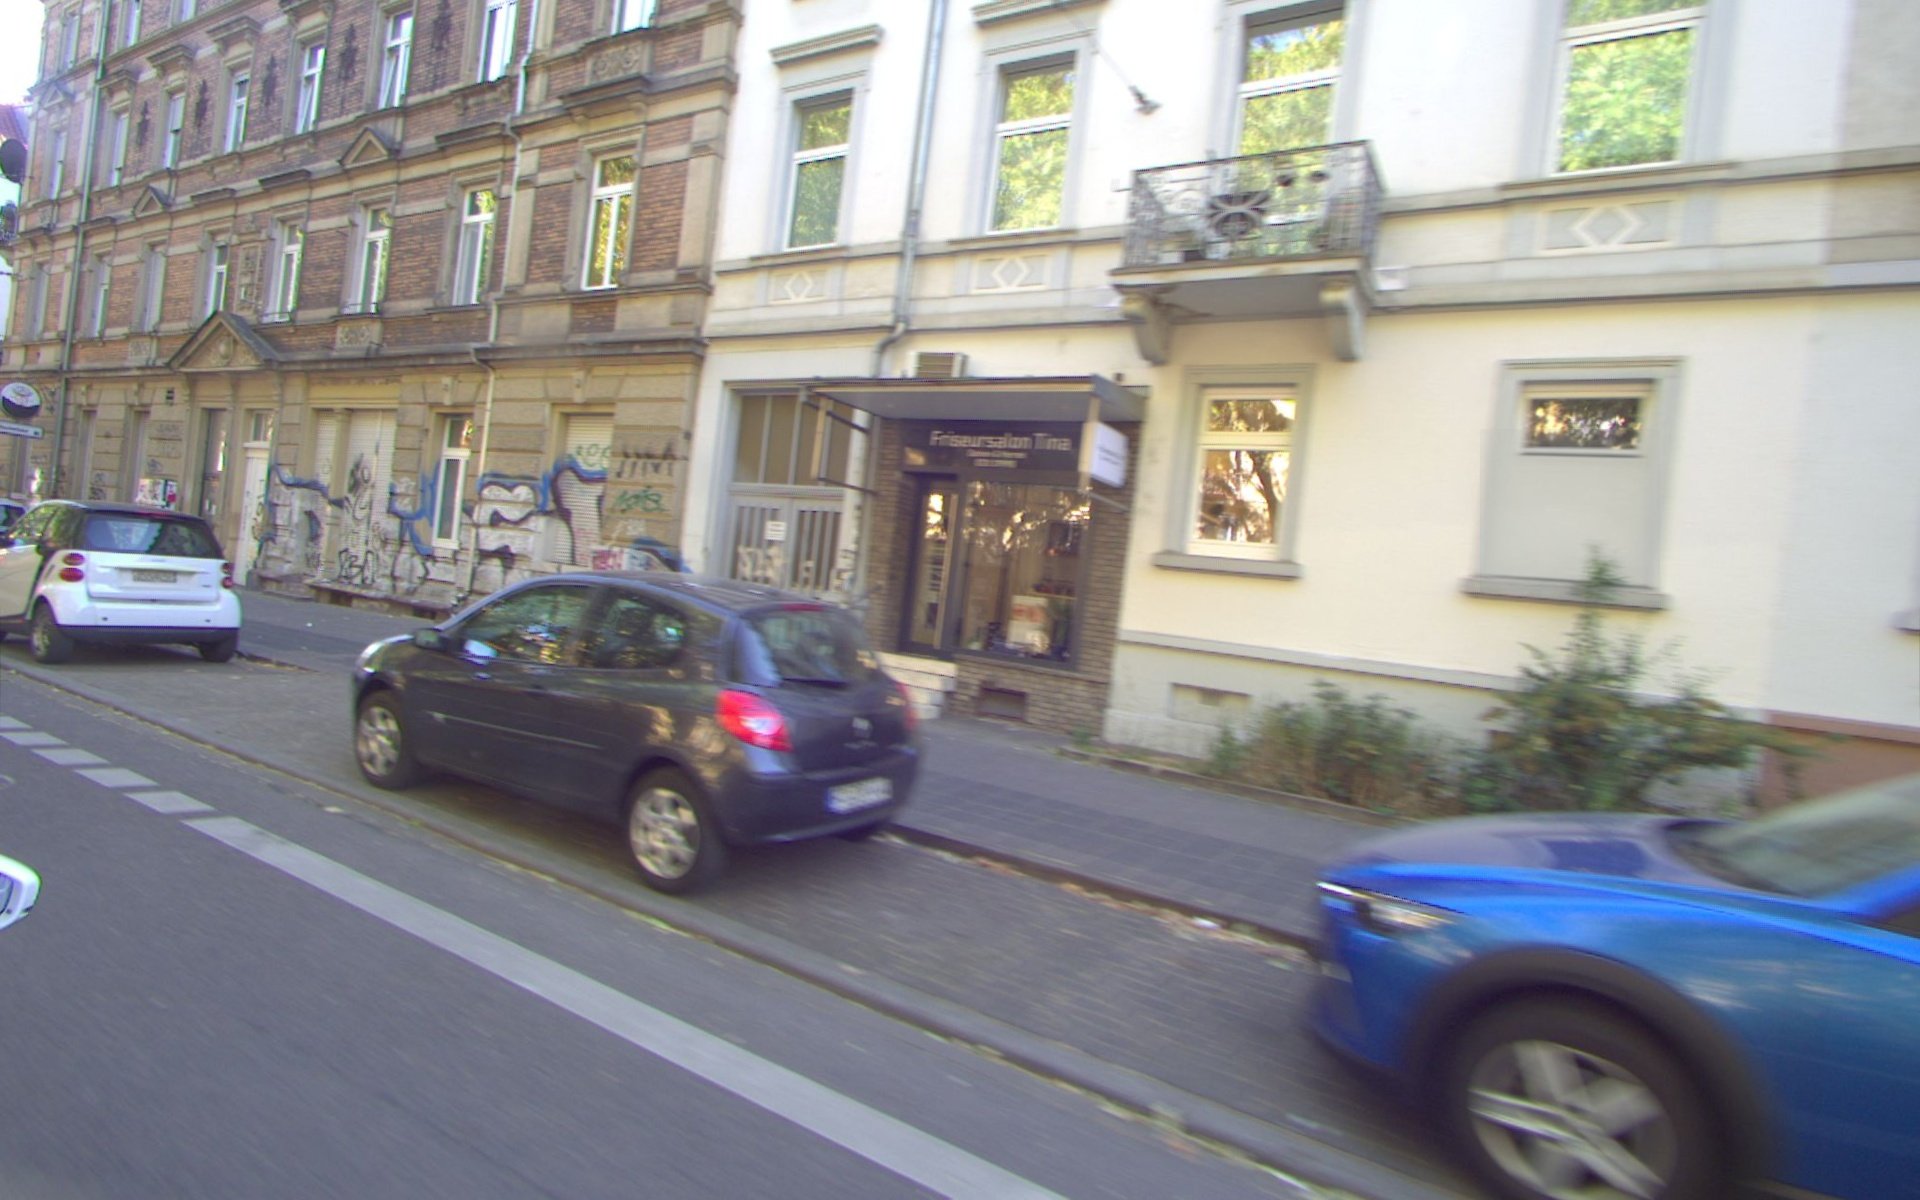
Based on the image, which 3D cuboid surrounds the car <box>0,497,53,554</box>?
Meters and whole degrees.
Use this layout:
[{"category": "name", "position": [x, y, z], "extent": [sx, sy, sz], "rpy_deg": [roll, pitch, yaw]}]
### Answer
[{"category": "car", "position": [-34.856, -2.851, 35.036], "extent": [1.845, 1.819, 4.386], "rpy_deg": [7, -2, 31]}]

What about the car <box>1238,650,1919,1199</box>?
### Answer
[{"category": "car", "position": [3.147, 1.136, 3.057], "extent": [3.960, 1.476, 1.879], "rpy_deg": [6, 2, 33]}]

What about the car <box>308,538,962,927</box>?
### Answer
[{"category": "car", "position": [-2.062, 0.553, 6.125], "extent": [3.701, 1.503, 1.711], "rpy_deg": [6, 3, 31]}]

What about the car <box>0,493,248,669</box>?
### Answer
[{"category": "car", "position": [-9.142, -0.258, 10.558], "extent": [2.988, 1.538, 1.568], "rpy_deg": [6, 3, 29]}]

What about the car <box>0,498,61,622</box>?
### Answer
[{"category": "car", "position": [-13.391, -0.650, 13.108], "extent": [3.639, 1.476, 1.703], "rpy_deg": [6, 3, 35]}]
